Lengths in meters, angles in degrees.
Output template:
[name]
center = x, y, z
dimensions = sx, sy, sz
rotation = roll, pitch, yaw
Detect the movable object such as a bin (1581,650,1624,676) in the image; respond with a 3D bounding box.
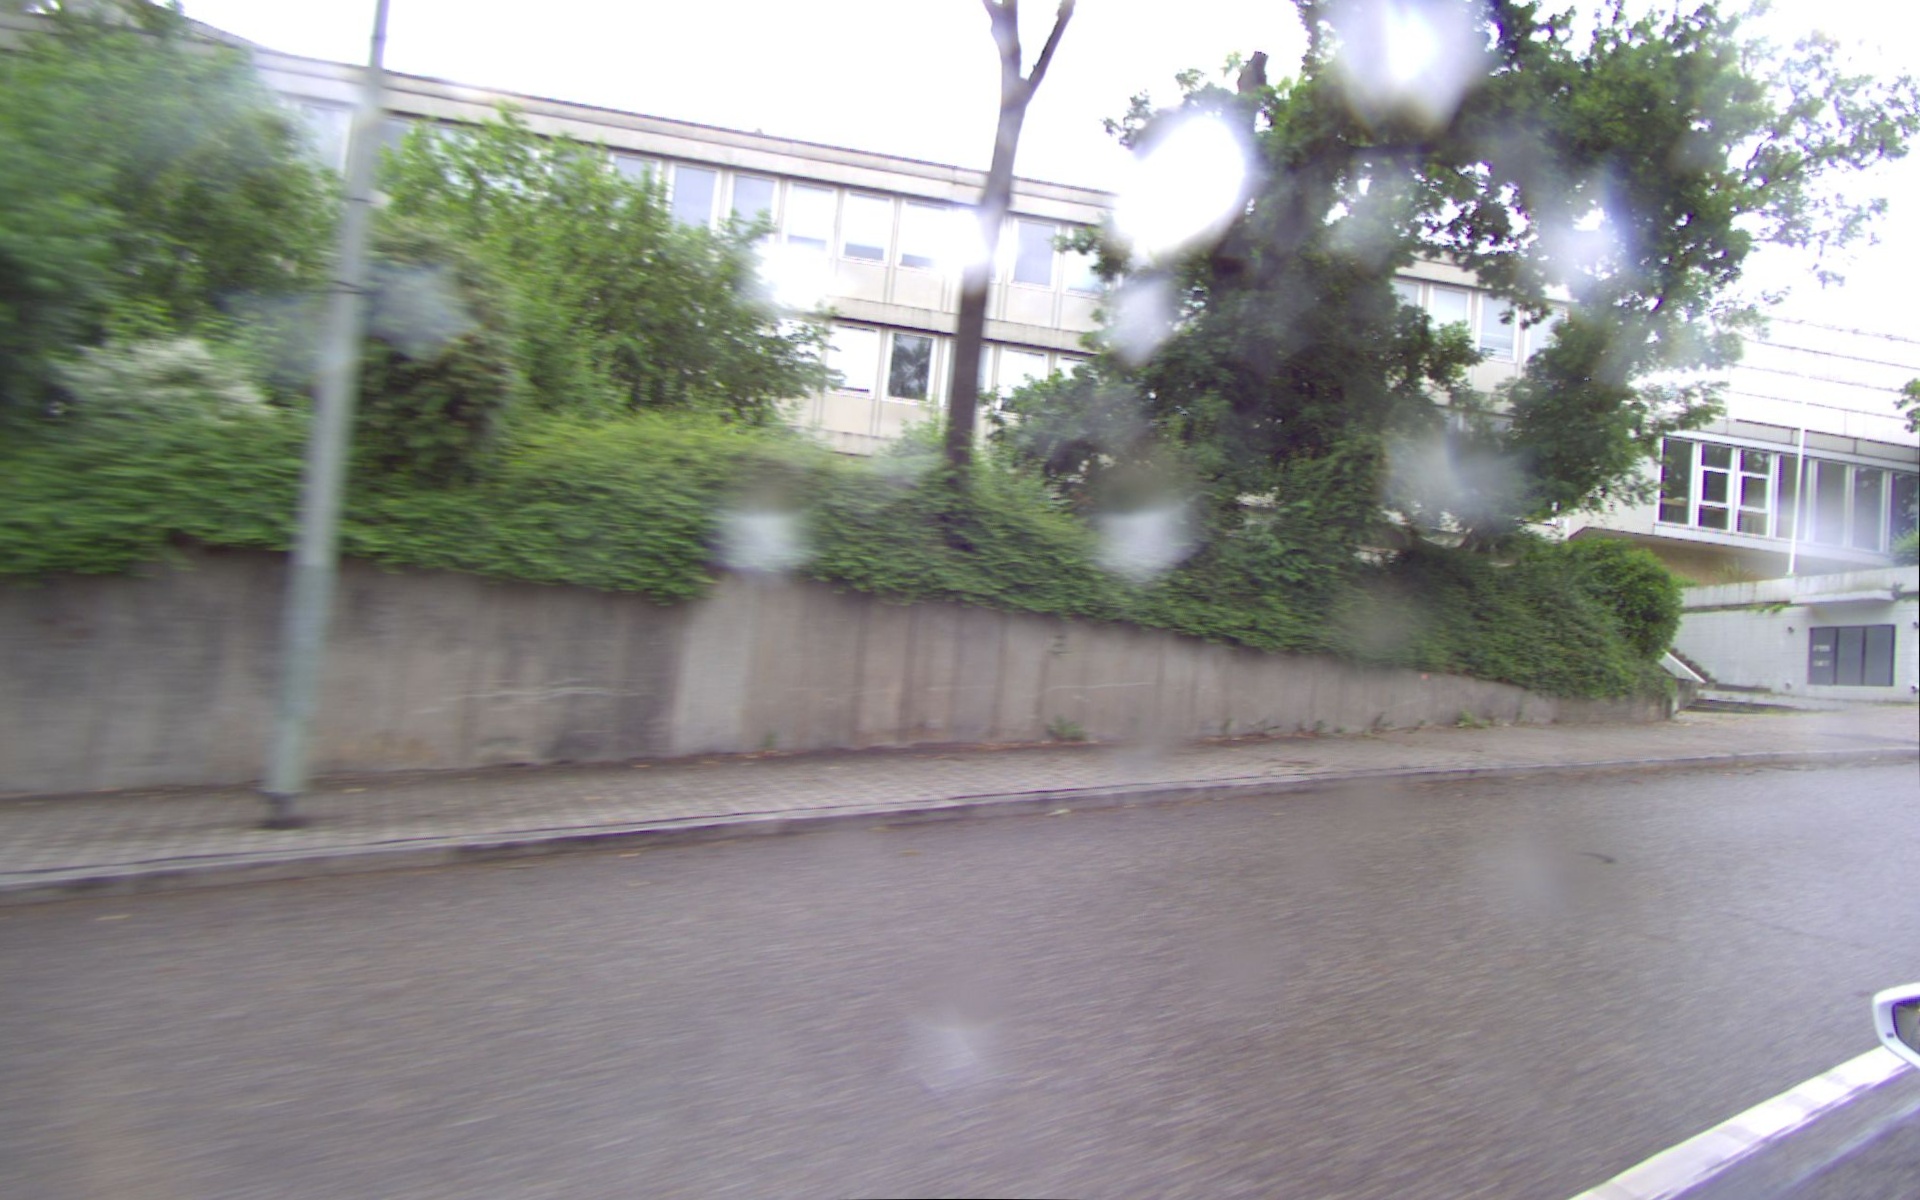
[movable object such as a bin]
center = 20.614, 2.021, 32.262
dimensions = 0.592, 0.803, 1.034
rotation = 0, -4, -9
